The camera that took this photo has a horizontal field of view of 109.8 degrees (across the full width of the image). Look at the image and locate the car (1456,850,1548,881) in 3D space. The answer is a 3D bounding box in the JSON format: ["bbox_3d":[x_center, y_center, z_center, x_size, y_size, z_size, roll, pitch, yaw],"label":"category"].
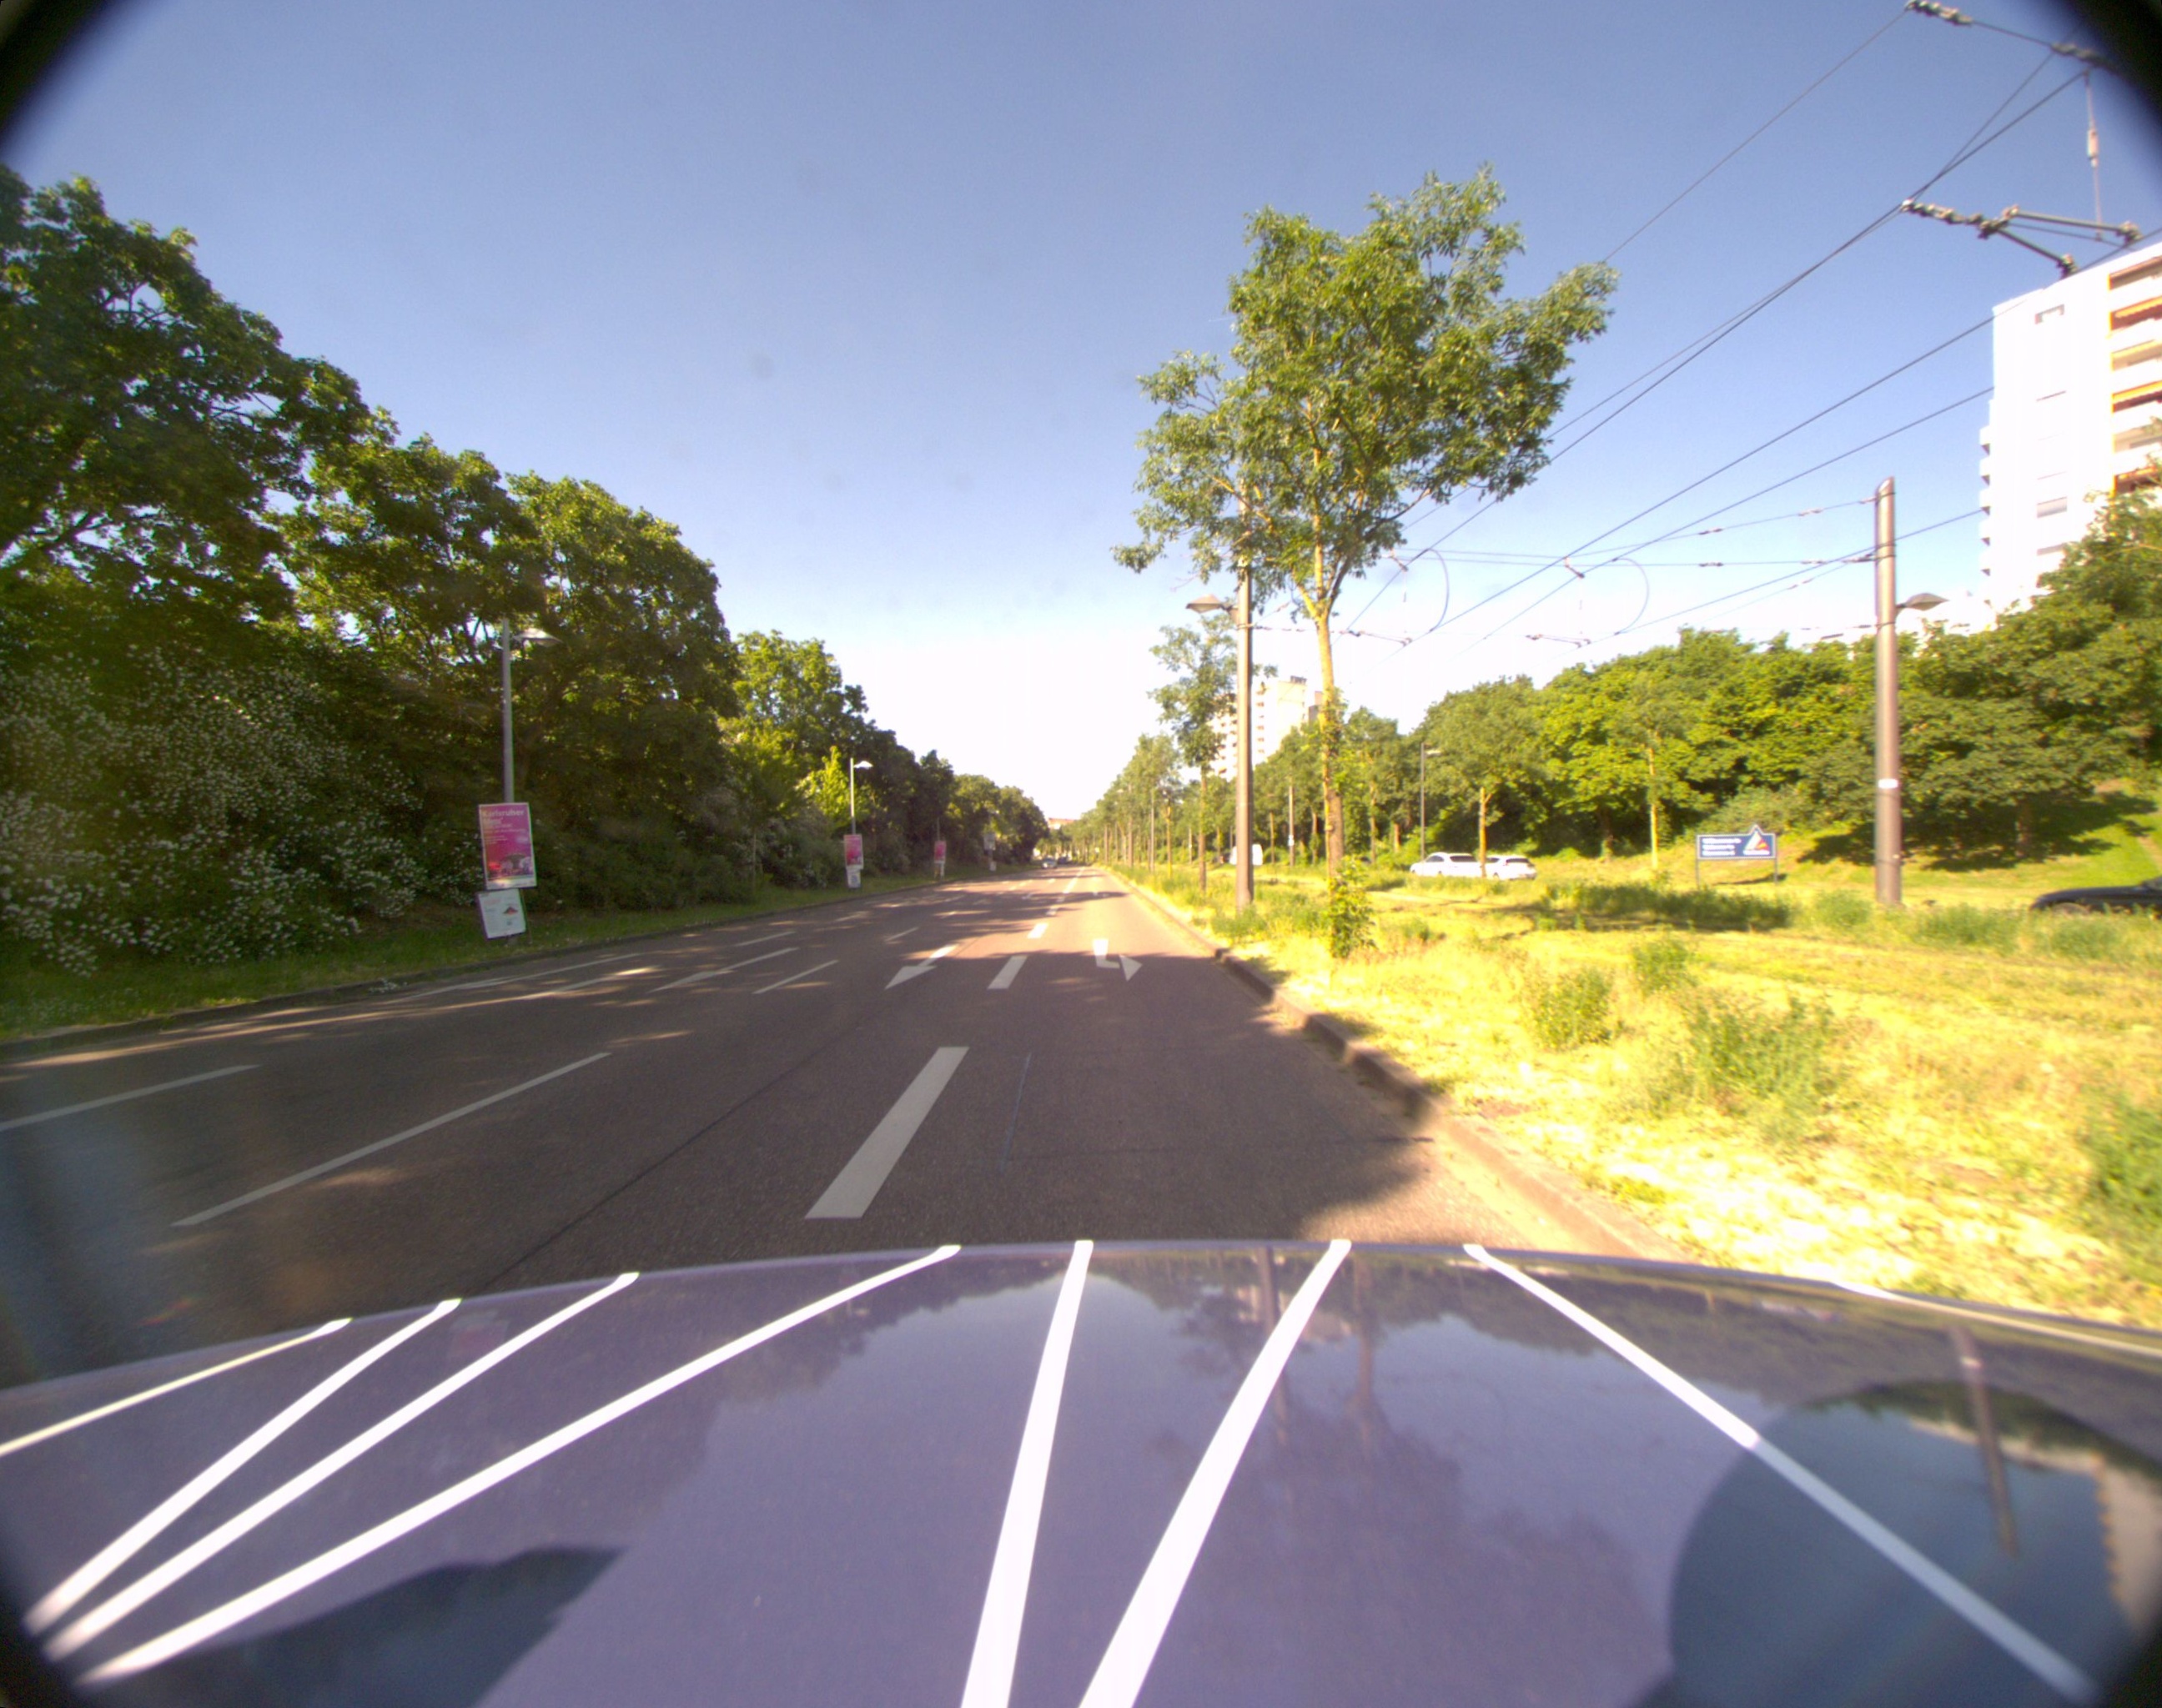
[{"bbox_3d":[21.146,0.531,38.407,1.905,1.390,4.541,-2,0,-4],"label":"car"}]

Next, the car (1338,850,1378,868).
[{"bbox_3d":[21.354,0.370,58.729,1.802,1.285,4.000,-2,0,3],"label":"car"}]

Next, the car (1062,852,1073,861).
[{"bbox_3d":[-2.658,0.583,151.854,1.999,1.696,3.999,-2,1,-1],"label":"car"}]

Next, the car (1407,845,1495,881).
[{"bbox_3d":[17.931,0.390,37.110,1.900,1.612,4.655,-2,0,-2],"label":"car"}]

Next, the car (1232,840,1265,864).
[{"bbox_3d":[17.669,-0.193,80.503,2.044,2.355,6.880,-2,0,1],"label":"car"}]

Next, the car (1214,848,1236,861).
[{"bbox_3d":[19.286,0.025,102.005,1.998,1.575,5.272,-2,0,1],"label":"car"}]

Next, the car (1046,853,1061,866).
[{"bbox_3d":[-3.566,0.749,98.471,1.673,1.531,4.060,-4,0,1],"label":"car"}]

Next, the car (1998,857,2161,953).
[{"bbox_3d":[17.677,0.804,11.373,1.998,1.401,4.990,-2,0,2],"label":"car"}]
